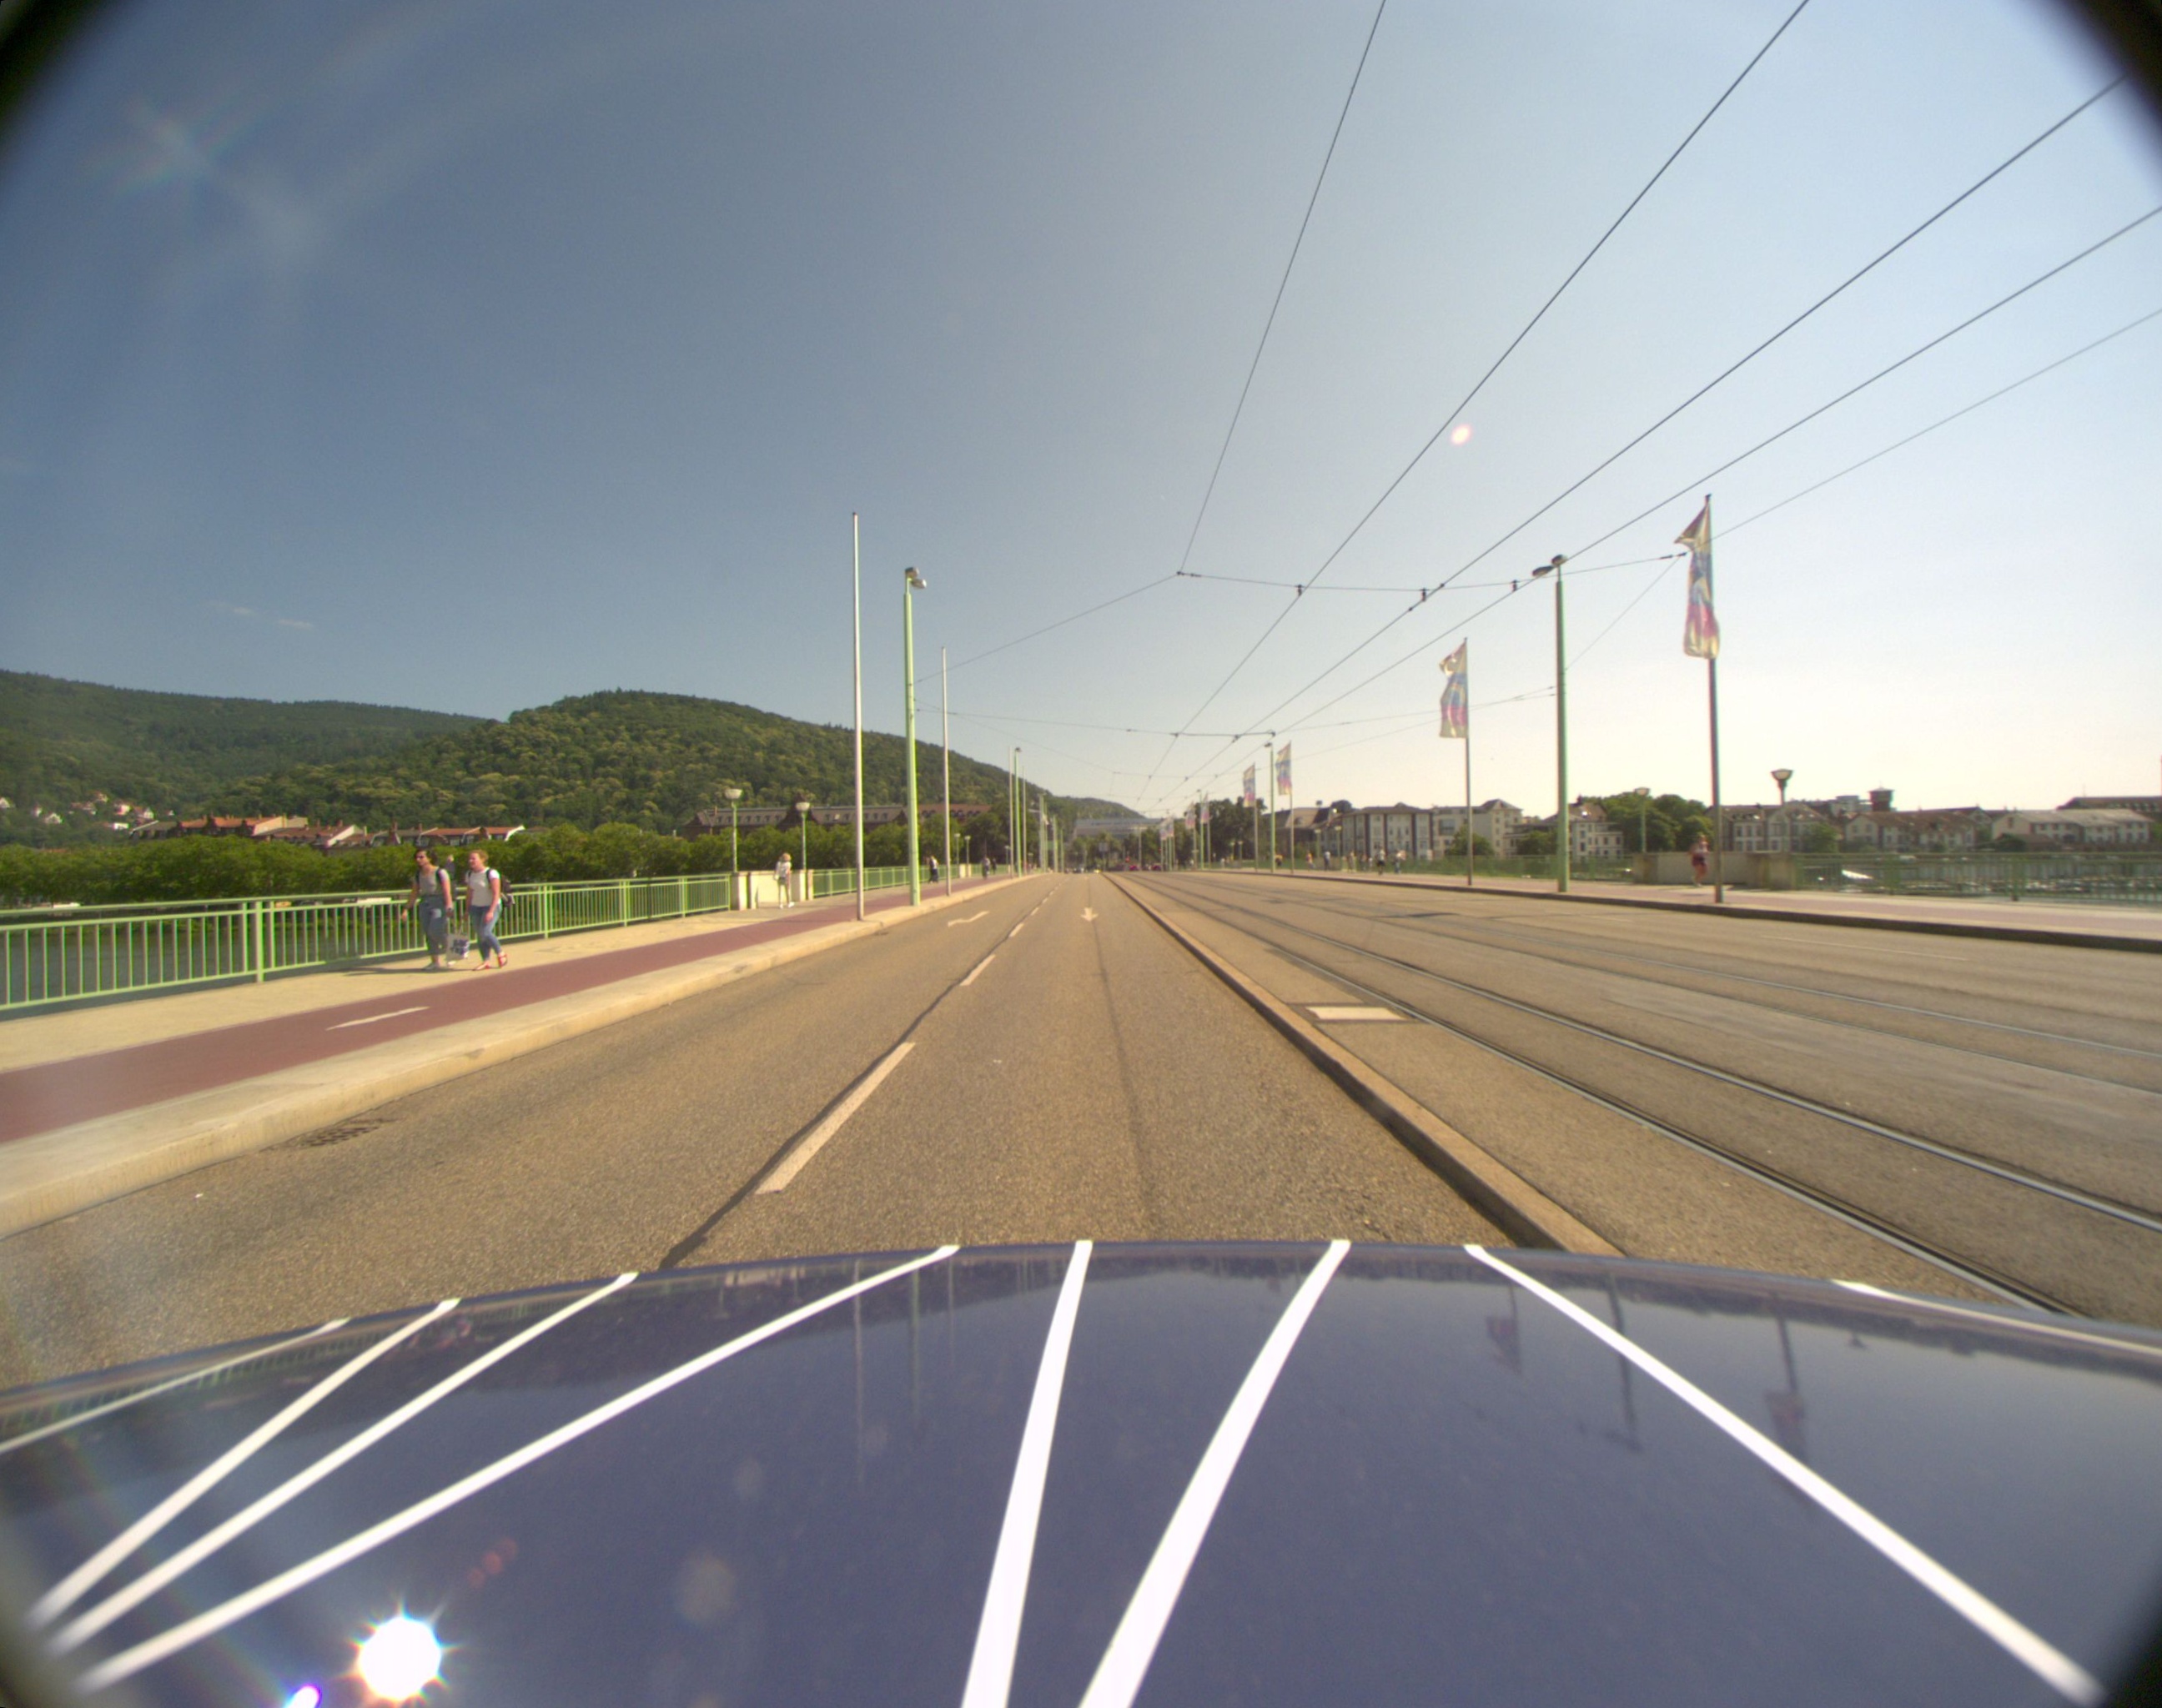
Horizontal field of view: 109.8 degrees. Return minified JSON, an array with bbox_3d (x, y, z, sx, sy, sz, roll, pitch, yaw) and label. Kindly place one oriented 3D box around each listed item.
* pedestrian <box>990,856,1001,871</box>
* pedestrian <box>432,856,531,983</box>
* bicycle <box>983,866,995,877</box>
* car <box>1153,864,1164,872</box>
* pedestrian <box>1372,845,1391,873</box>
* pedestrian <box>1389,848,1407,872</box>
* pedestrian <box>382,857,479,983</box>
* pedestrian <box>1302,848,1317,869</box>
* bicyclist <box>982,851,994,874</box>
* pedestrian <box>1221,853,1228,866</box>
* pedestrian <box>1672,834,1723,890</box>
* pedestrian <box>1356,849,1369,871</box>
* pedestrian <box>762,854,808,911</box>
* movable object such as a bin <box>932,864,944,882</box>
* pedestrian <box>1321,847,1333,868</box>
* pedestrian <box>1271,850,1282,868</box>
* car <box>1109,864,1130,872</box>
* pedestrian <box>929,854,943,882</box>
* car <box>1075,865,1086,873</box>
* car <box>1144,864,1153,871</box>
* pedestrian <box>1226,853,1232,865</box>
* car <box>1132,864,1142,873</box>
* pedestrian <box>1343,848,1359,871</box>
[{"bbox_3d":[-9.164,1.027,81.399,0.950,1.653,1.082,1,0,0],"label":"pedestrian"},{"bbox_3d":[-8.122,0.861,10.328,0.664,1.649,0.825,0,1,0],"label":"pedestrian"},{"bbox_3d":[-6.730,1.294,55.584,0.595,0.761,1.866,0,0,1],"label":"bicycle"},{"bbox_3d":[14.393,2.548,141.402,1.721,1.446,3.901,0,0,0],"label":"car"},{"bbox_3d":[18.212,0.297,46.117,0.671,1.690,1.022,-3,1,0],"label":"pedestrian"},{"bbox_3d":[19.283,0.358,46.258,0.592,1.406,1.022,-3,0,0],"label":"pedestrian"},{"bbox_3d":[-8.854,0.869,10.363,0.669,1.649,0.746,0,1,0],"label":"pedestrian"},{"bbox_3d":[18.637,0.348,61.941,0.787,1.690,1.022,-4,1,0],"label":"pedestrian"},{"bbox_3d":[-6.781,0.593,55.322,0.731,1.655,0.844,0,0,1],"label":"bicyclist"},{"bbox_3d":[19.903,0.775,105.539,0.592,1.690,1.022,-6,0,0],"label":"pedestrian"},{"bbox_3d":[19.421,0.246,23.956,0.686,1.680,1.022,-3,1,0],"label":"pedestrian"},{"bbox_3d":[19.455,0.405,52.522,0.547,1.429,0.789,-3,1,0],"label":"pedestrian"},{"bbox_3d":[-8.958,0.844,23.026,0.950,1.653,1.082,0,1,0],"label":"pedestrian"},{"bbox_3d":[-8.739,1.138,46.470,0.583,1.084,0.933,0,0,0],"label":"movable object such as a bin"},{"bbox_3d":[19.676,0.270,60.734,0.592,1.690,1.022,-3,1,0],"label":"pedestrian"},{"bbox_3d":[19.111,0.512,74.245,0.787,1.690,1.022,-4,1,0],"label":"pedestrian"},{"bbox_3d":[9.838,3.559,194.976,5.233,1.588,2.000,-3,1,1],"label":"car"},{"bbox_3d":[-8.707,0.832,45.623,0.664,1.696,0.859,0,1,0],"label":"pedestrian"},{"bbox_3d":[-0.102,3.004,151.043,1.998,1.379,4.000,-6,0,1],"label":"car"},{"bbox_3d":[14.662,2.848,165.426,1.672,1.428,4.000,-1,1,1],"label":"car"},{"bbox_3d":[20.572,0.668,105.521,0.592,1.690,0.905,-6,0,0],"label":"pedestrian"},{"bbox_3d":[11.571,2.997,157.669,1.714,1.686,4.000,-5,0,1],"label":"car"},{"bbox_3d":[18.698,0.386,52.611,0.627,1.590,1.022,-3,1,0],"label":"pedestrian"}]
